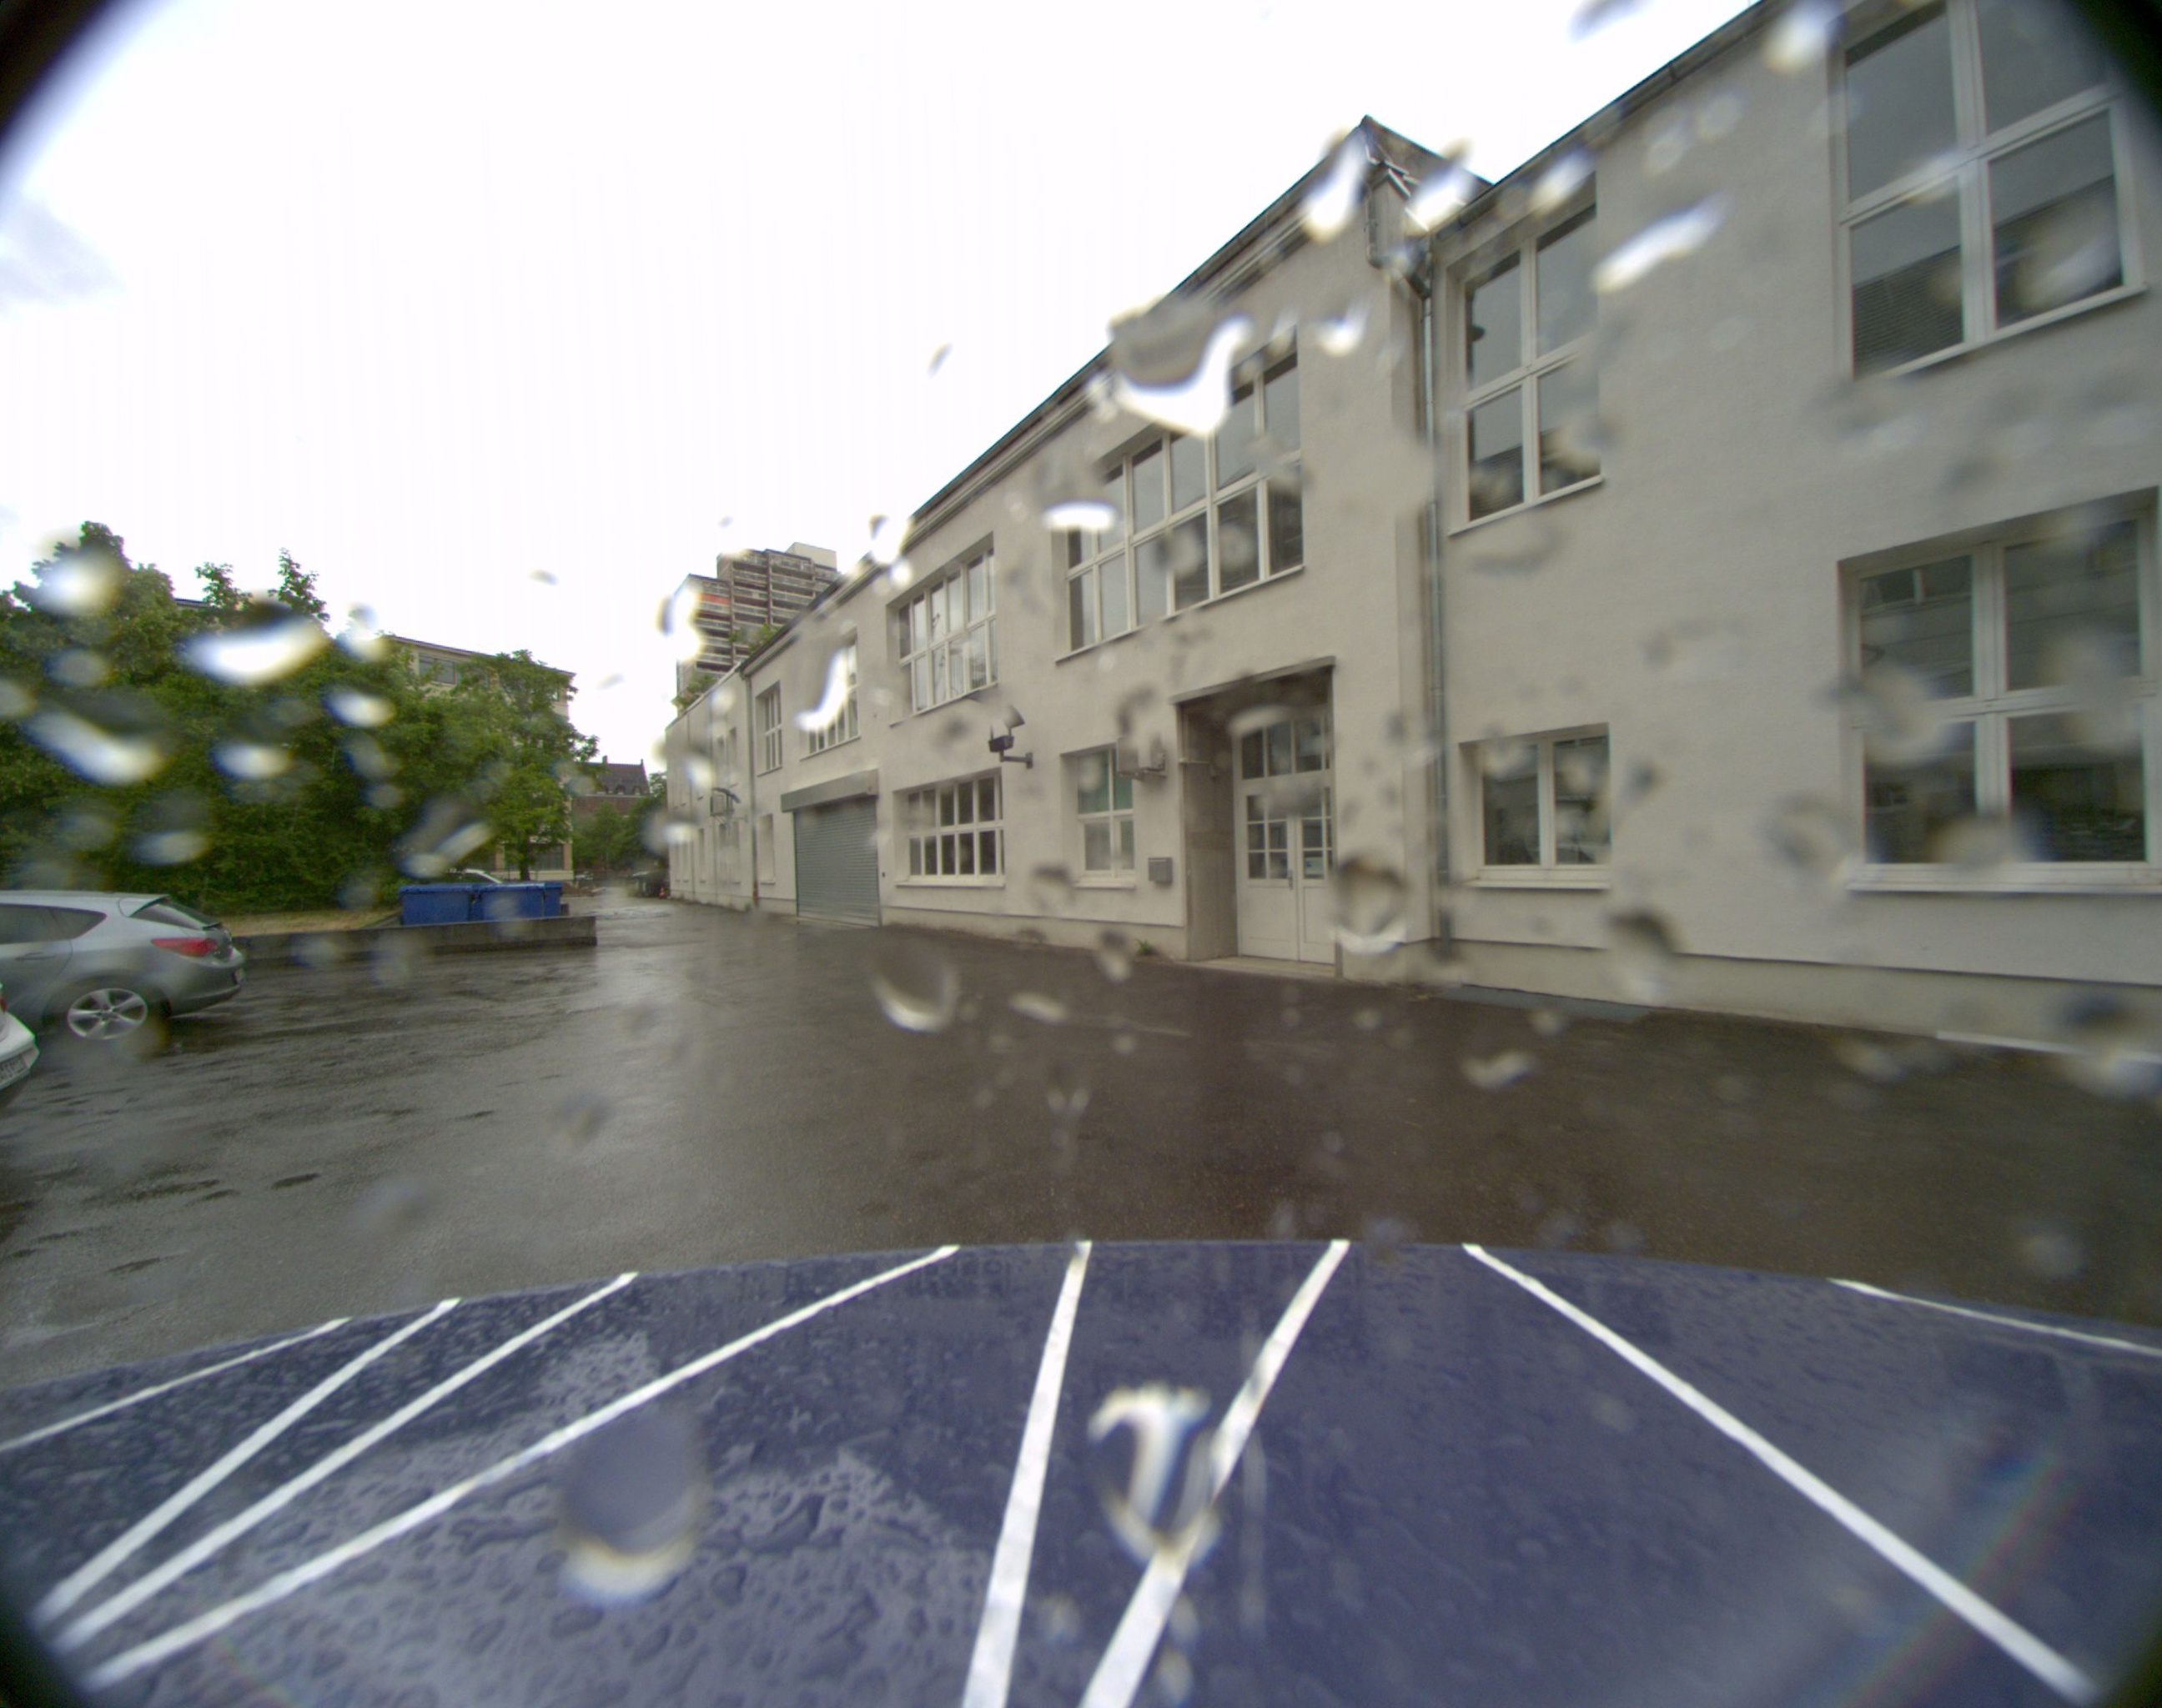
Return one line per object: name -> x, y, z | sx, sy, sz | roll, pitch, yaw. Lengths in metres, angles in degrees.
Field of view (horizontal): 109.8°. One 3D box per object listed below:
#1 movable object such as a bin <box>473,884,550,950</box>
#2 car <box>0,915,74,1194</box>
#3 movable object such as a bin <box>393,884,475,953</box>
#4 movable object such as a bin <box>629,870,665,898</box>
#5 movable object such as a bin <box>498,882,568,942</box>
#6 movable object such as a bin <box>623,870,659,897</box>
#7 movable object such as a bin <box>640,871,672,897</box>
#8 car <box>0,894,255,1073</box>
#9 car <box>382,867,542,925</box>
movable object such as a bin -> -13.261, 1.432, 17.687 | 1.316, 1.349, 1.900 | -4, -1, -38
car -> -7.628, 1.164, 2.887 | 4.229, 1.481, 1.995 | -2, 0, -41
movable object such as a bin -> -14.307, 1.400, 16.871 | 1.235, 1.349, 1.966 | -4, -1, -38
movable object such as a bin -> -24.844, 1.707, 43.491 | 1.495, 1.440, 1.310 | -3, -1, -43
movable object such as a bin -> -14.067, 1.470, 19.480 | 1.316, 1.349, 1.900 | -4, -1, -38
movable object such as a bin -> -25.741, 1.752, 44.494 | 1.495, 1.440, 1.310 | -3, -1, -43
movable object such as a bin -> -23.710, 1.686, 42.401 | 1.190, 1.366, 1.310 | -3, -1, -43
car -> -10.767, 1.229, 6.878 | 4.229, 1.481, 1.995 | -2, 0, -41
car -> -24.384, 1.635, 30.208 | 4.705, 1.870, 2.119 | -3, -2, -36
